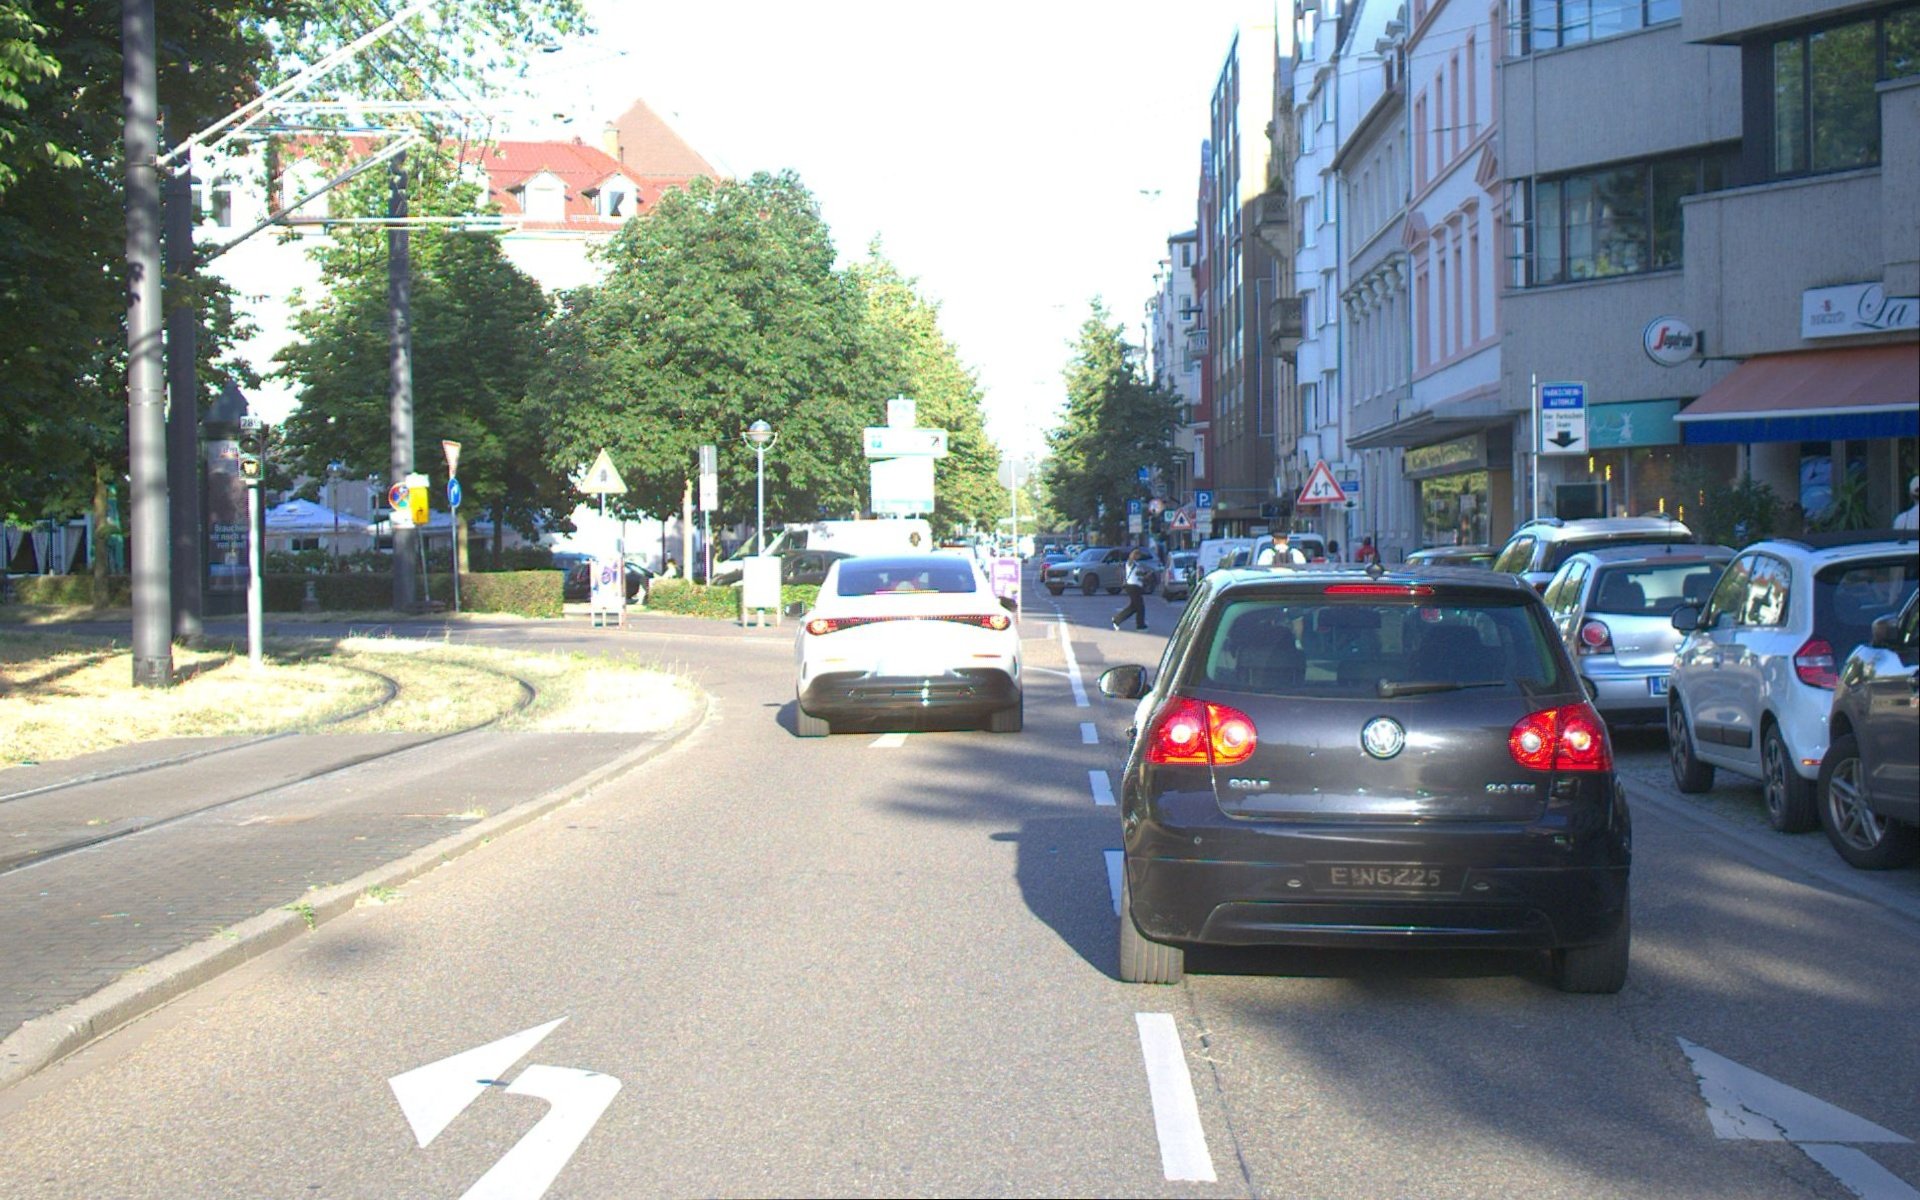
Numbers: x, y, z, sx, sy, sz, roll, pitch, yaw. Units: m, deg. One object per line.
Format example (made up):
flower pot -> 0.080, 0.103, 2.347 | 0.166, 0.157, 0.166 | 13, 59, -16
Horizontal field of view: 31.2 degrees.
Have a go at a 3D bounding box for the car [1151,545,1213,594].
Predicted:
car -> 7.178, -0.987, 111.460 | 1.752, 1.505, 3.545 | -2, 1, 0

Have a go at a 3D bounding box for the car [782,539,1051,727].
car -> -0.285, 0.281, 28.635 | 1.865, 1.436, 4.196 | 0, -1, 4

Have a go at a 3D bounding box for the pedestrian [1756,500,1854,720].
pedestrian -> 6.942, 0.077, 28.266 | 0.578, 1.754, 0.662 | -3, 1, 2

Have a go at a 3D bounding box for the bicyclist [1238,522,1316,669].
bicyclist -> 3.559, -0.056, 38.611 | 0.777, 1.613, 1.025 | 1, 1, 1

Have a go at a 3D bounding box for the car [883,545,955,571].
car -> -2.116, -2.128, 175.489 | 3.377, 1.283, 1.673 | 0, 1, -14

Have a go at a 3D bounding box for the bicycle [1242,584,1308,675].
bicycle -> 3.534, 0.317, 38.642 | 0.579, 0.984, 1.936 | 1, 1, 1

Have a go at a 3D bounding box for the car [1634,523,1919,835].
car -> 5.037, 0.370, 19.620 | 1.607, 1.551, 3.610 | -3, 1, 0

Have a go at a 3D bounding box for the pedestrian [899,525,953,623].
pedestrian -> -0.597, -0.460, 60.188 | 0.859, 1.700, 0.941 | 0, 1, -5

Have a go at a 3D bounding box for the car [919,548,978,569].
car -> -0.735, -2.601, 214.377 | 3.377, 1.283, 1.673 | 0, 1, -14

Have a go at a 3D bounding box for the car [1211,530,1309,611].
car -> 6.290, -0.633, 72.465 | 1.734, 1.611, 3.916 | -2, 1, 1

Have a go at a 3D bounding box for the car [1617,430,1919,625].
car -> 11.685, -0.995, 46.166 | 5.315, 2.434, 2.092 | -2, 1, -24

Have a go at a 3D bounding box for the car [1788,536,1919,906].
car -> 4.964, 0.486, 14.893 | 1.782, 1.551, 4.234 | -3, 1, 2

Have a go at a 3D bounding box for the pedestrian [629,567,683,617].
pedestrian -> -7.599, -0.207, 85.907 | 1.097, 1.222, 0.860 | 0, 1, -24

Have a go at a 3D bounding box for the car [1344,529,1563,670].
car -> 5.557, -0.034, 39.106 | 1.662, 1.436, 3.824 | -3, 1, -3

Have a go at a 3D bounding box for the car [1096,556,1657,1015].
car -> 1.415, 0.567, 13.077 | 1.747, 1.456, 4.103 | 0, 1, 2

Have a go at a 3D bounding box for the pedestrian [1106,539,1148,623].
pedestrian -> 3.116, -0.353, 64.208 | 0.736, 1.549, 0.632 | 0, 1, -2

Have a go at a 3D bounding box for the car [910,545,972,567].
car -> -1.154, -2.657, 206.640 | 3.377, 1.283, 1.673 | 0, 1, -14

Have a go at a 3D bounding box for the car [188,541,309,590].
car -> -22.914, -1.120, 110.719 | 3.612, 1.547, 1.663 | 0, 1, -21

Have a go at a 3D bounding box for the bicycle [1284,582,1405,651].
bicycle -> 6.232, 0.278, 55.768 | 1.850, 1.042, 0.580 | -2, 2, 32

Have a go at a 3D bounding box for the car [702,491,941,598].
car -> -3.417, -1.367, 85.274 | 5.510, 2.586, 2.155 | -1, 1, -25

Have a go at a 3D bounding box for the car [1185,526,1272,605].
car -> 6.631, -0.861, 85.242 | 1.925, 1.835, 4.017 | -2, 1, 2

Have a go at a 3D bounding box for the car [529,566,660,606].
car -> -12.234, -0.475, 115.001 | 3.986, 1.297, 1.853 | 0, 1, -21

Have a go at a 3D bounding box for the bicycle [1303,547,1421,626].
bicycle -> 6.006, -0.198, 51.386 | 1.605, 1.115, 0.611 | -2, 2, 35

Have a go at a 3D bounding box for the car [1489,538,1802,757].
car -> 5.050, 0.298, 25.782 | 1.662, 1.436, 3.855 | -3, 1, 3

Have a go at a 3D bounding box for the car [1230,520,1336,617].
car -> 6.328, -0.628, 67.711 | 1.734, 1.794, 3.916 | -2, 1, 1

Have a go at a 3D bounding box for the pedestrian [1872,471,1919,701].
pedestrian -> 7.908, -0.126, 28.170 | 0.622, 1.851, 0.662 | -3, 1, 2

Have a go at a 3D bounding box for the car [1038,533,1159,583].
car -> 5.048, -1.558, 125.079 | 3.987, 1.766, 2.000 | -1, 2, -33

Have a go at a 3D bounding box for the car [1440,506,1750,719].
car -> 5.696, 0.068, 31.405 | 1.867, 1.708, 4.505 | -3, 1, -1
